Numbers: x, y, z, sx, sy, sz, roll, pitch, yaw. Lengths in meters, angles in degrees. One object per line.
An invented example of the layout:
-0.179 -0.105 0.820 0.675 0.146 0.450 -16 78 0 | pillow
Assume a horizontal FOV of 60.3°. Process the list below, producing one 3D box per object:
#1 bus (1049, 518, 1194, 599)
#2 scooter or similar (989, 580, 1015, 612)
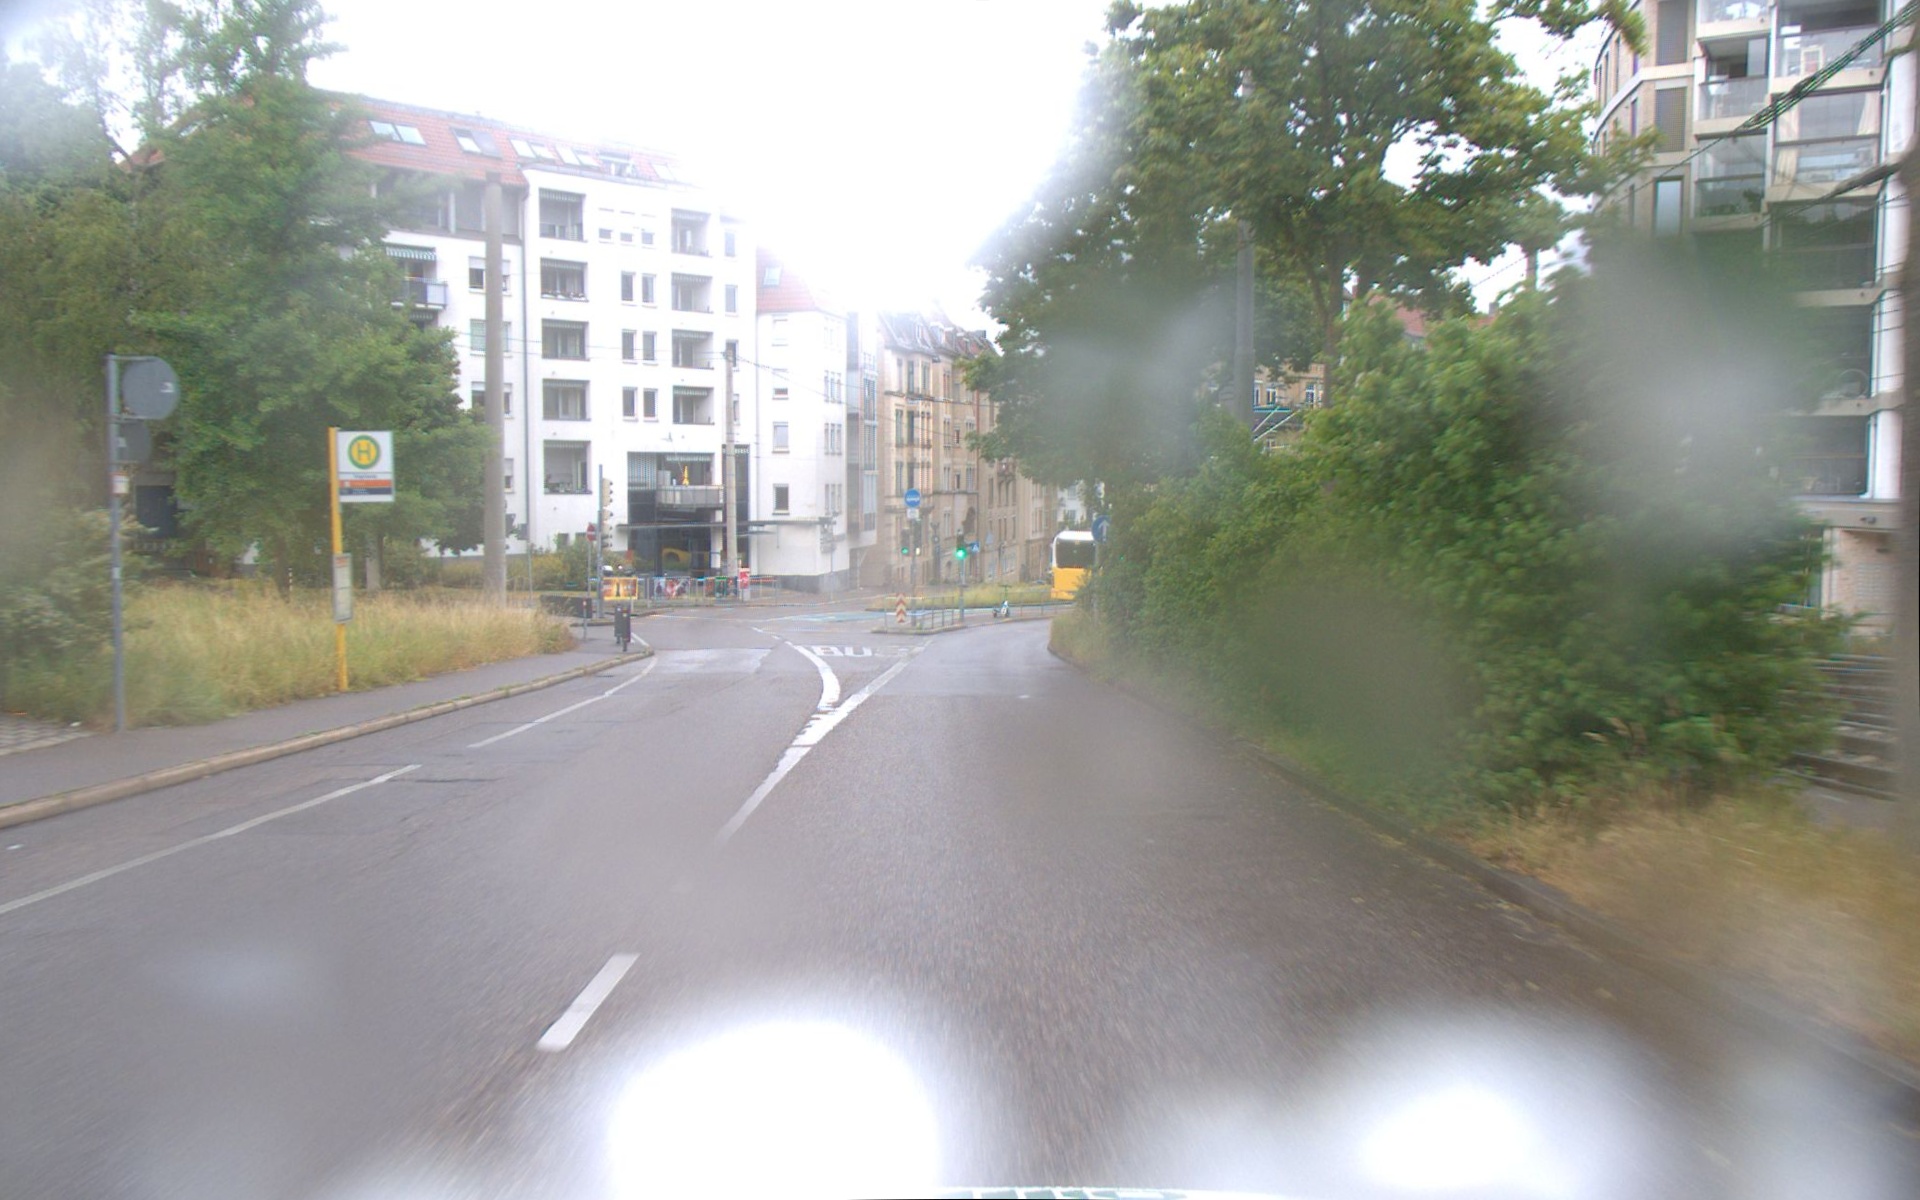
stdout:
7.616 -1.845 76.619 2.546 3.529 9.077 2 1 34 | bus
1.539 -0.141 60.345 0.424 1.133 1.606 2 2 19 | scooter or similar
